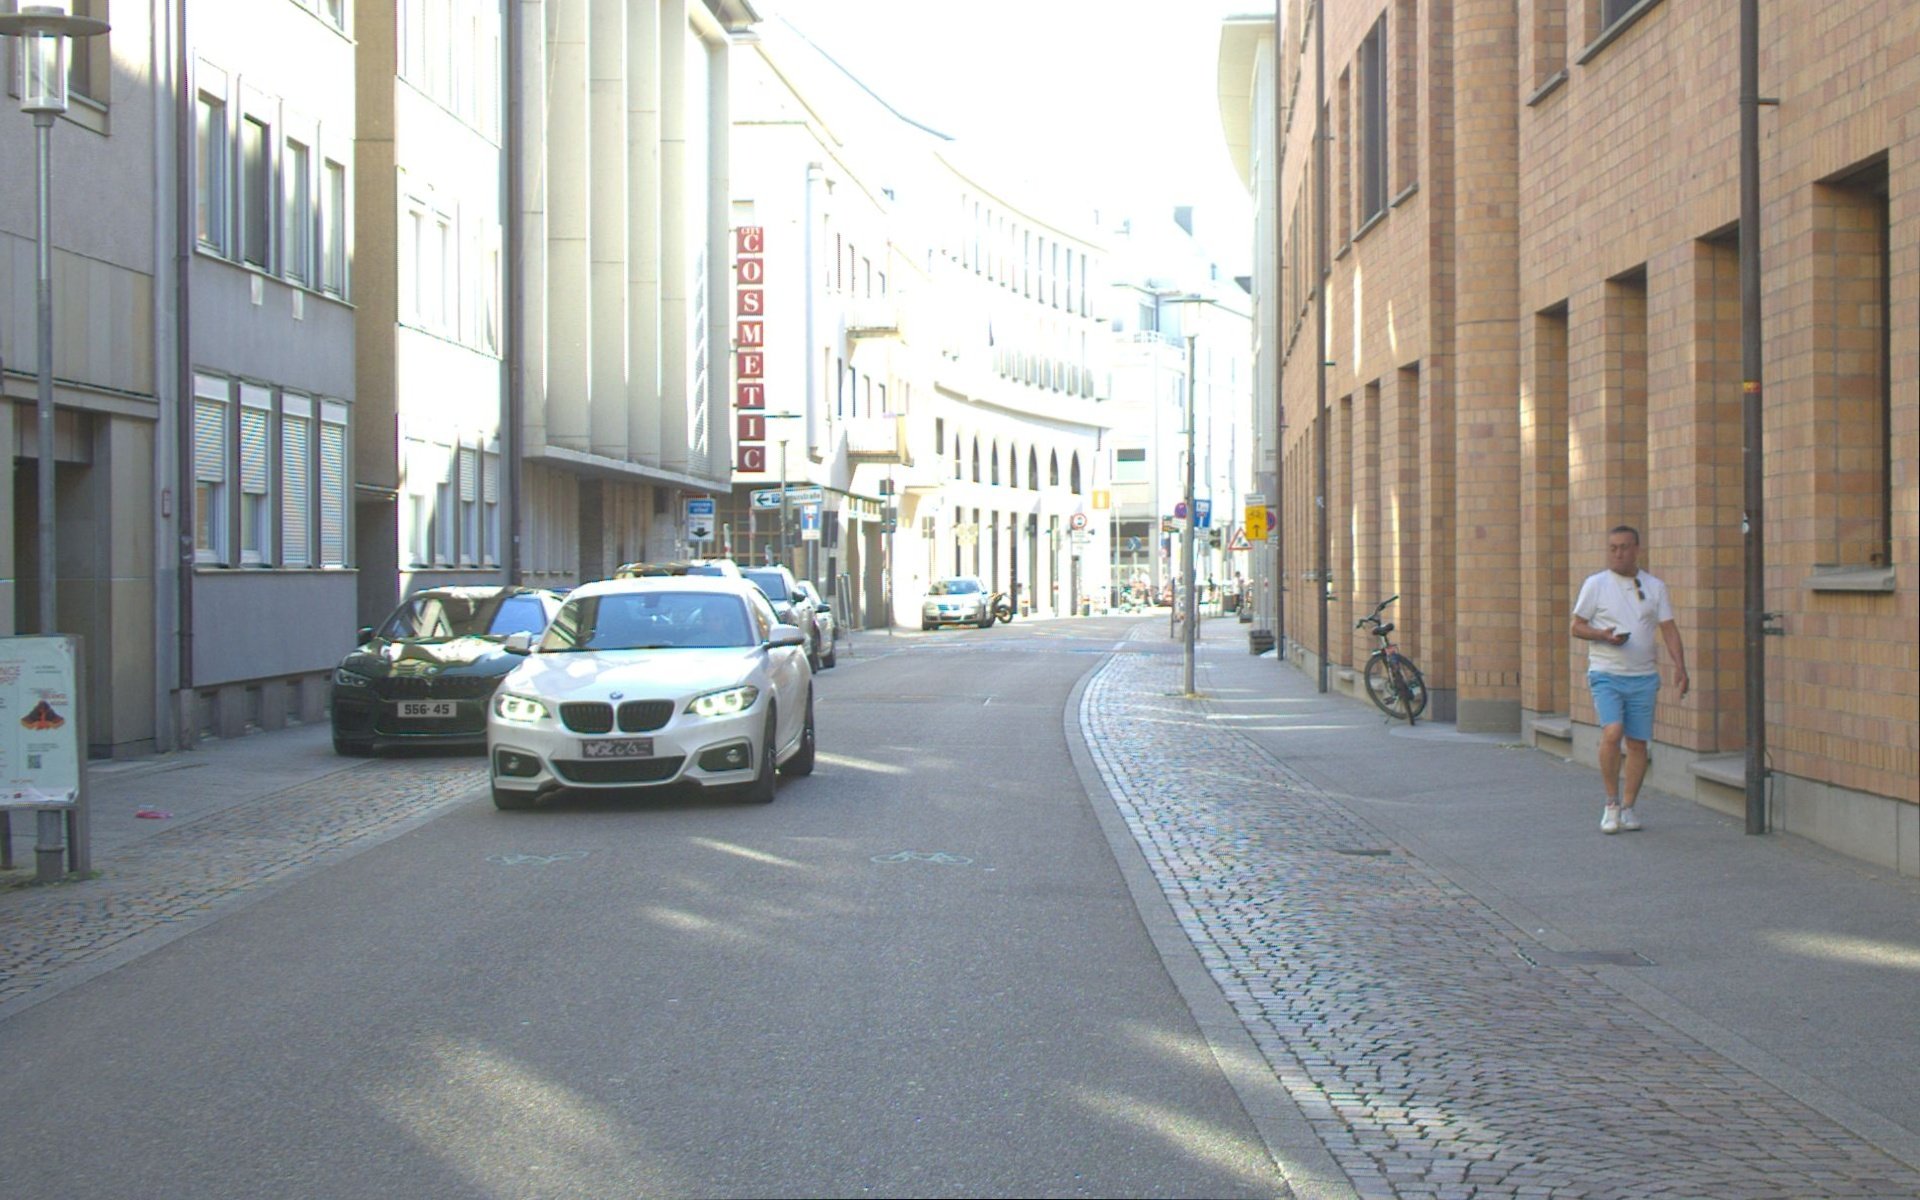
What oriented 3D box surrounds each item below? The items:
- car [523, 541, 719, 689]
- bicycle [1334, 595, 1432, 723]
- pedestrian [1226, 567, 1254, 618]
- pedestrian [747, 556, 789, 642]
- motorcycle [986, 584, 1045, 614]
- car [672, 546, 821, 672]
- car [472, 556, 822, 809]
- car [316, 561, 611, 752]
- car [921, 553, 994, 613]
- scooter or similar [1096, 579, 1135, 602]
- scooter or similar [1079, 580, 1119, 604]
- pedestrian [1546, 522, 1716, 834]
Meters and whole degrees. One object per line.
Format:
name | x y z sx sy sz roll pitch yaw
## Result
car | -4.020 0.139 41.398 1.890 1.670 4.554 0 1 0
bicycle | 3.924 0.530 32.006 0.549 1.099 1.982 -3 1 -2
pedestrian | 10.436 -0.278 128.127 0.659 1.862 0.786 2 0 -26
pedestrian | -3.673 -0.022 65.776 0.645 1.620 0.457 0 1 -38
motorcycle | 1.665 -0.028 103.126 1.692 0.856 0.594 2 0 9
car | -3.053 0.099 49.970 1.890 1.736 4.391 0 1 0
car | -1.964 0.470 22.715 1.715 1.512 4.160 0 1 3
car | -4.259 0.432 30.208 1.890 1.525 4.729 0 1 0
car | -0.042 -0.484 95.504 1.737 1.600 3.532 1 1 4
scooter or similar | 6.387 -0.396 141.231 0.526 0.925 2.223 2 1 34
scooter or similar | 5.569 -0.319 137.532 0.526 0.925 2.223 2 1 34
pedestrian | 3.787 0.427 19.452 0.760 1.710 0.821 -2 1 0
